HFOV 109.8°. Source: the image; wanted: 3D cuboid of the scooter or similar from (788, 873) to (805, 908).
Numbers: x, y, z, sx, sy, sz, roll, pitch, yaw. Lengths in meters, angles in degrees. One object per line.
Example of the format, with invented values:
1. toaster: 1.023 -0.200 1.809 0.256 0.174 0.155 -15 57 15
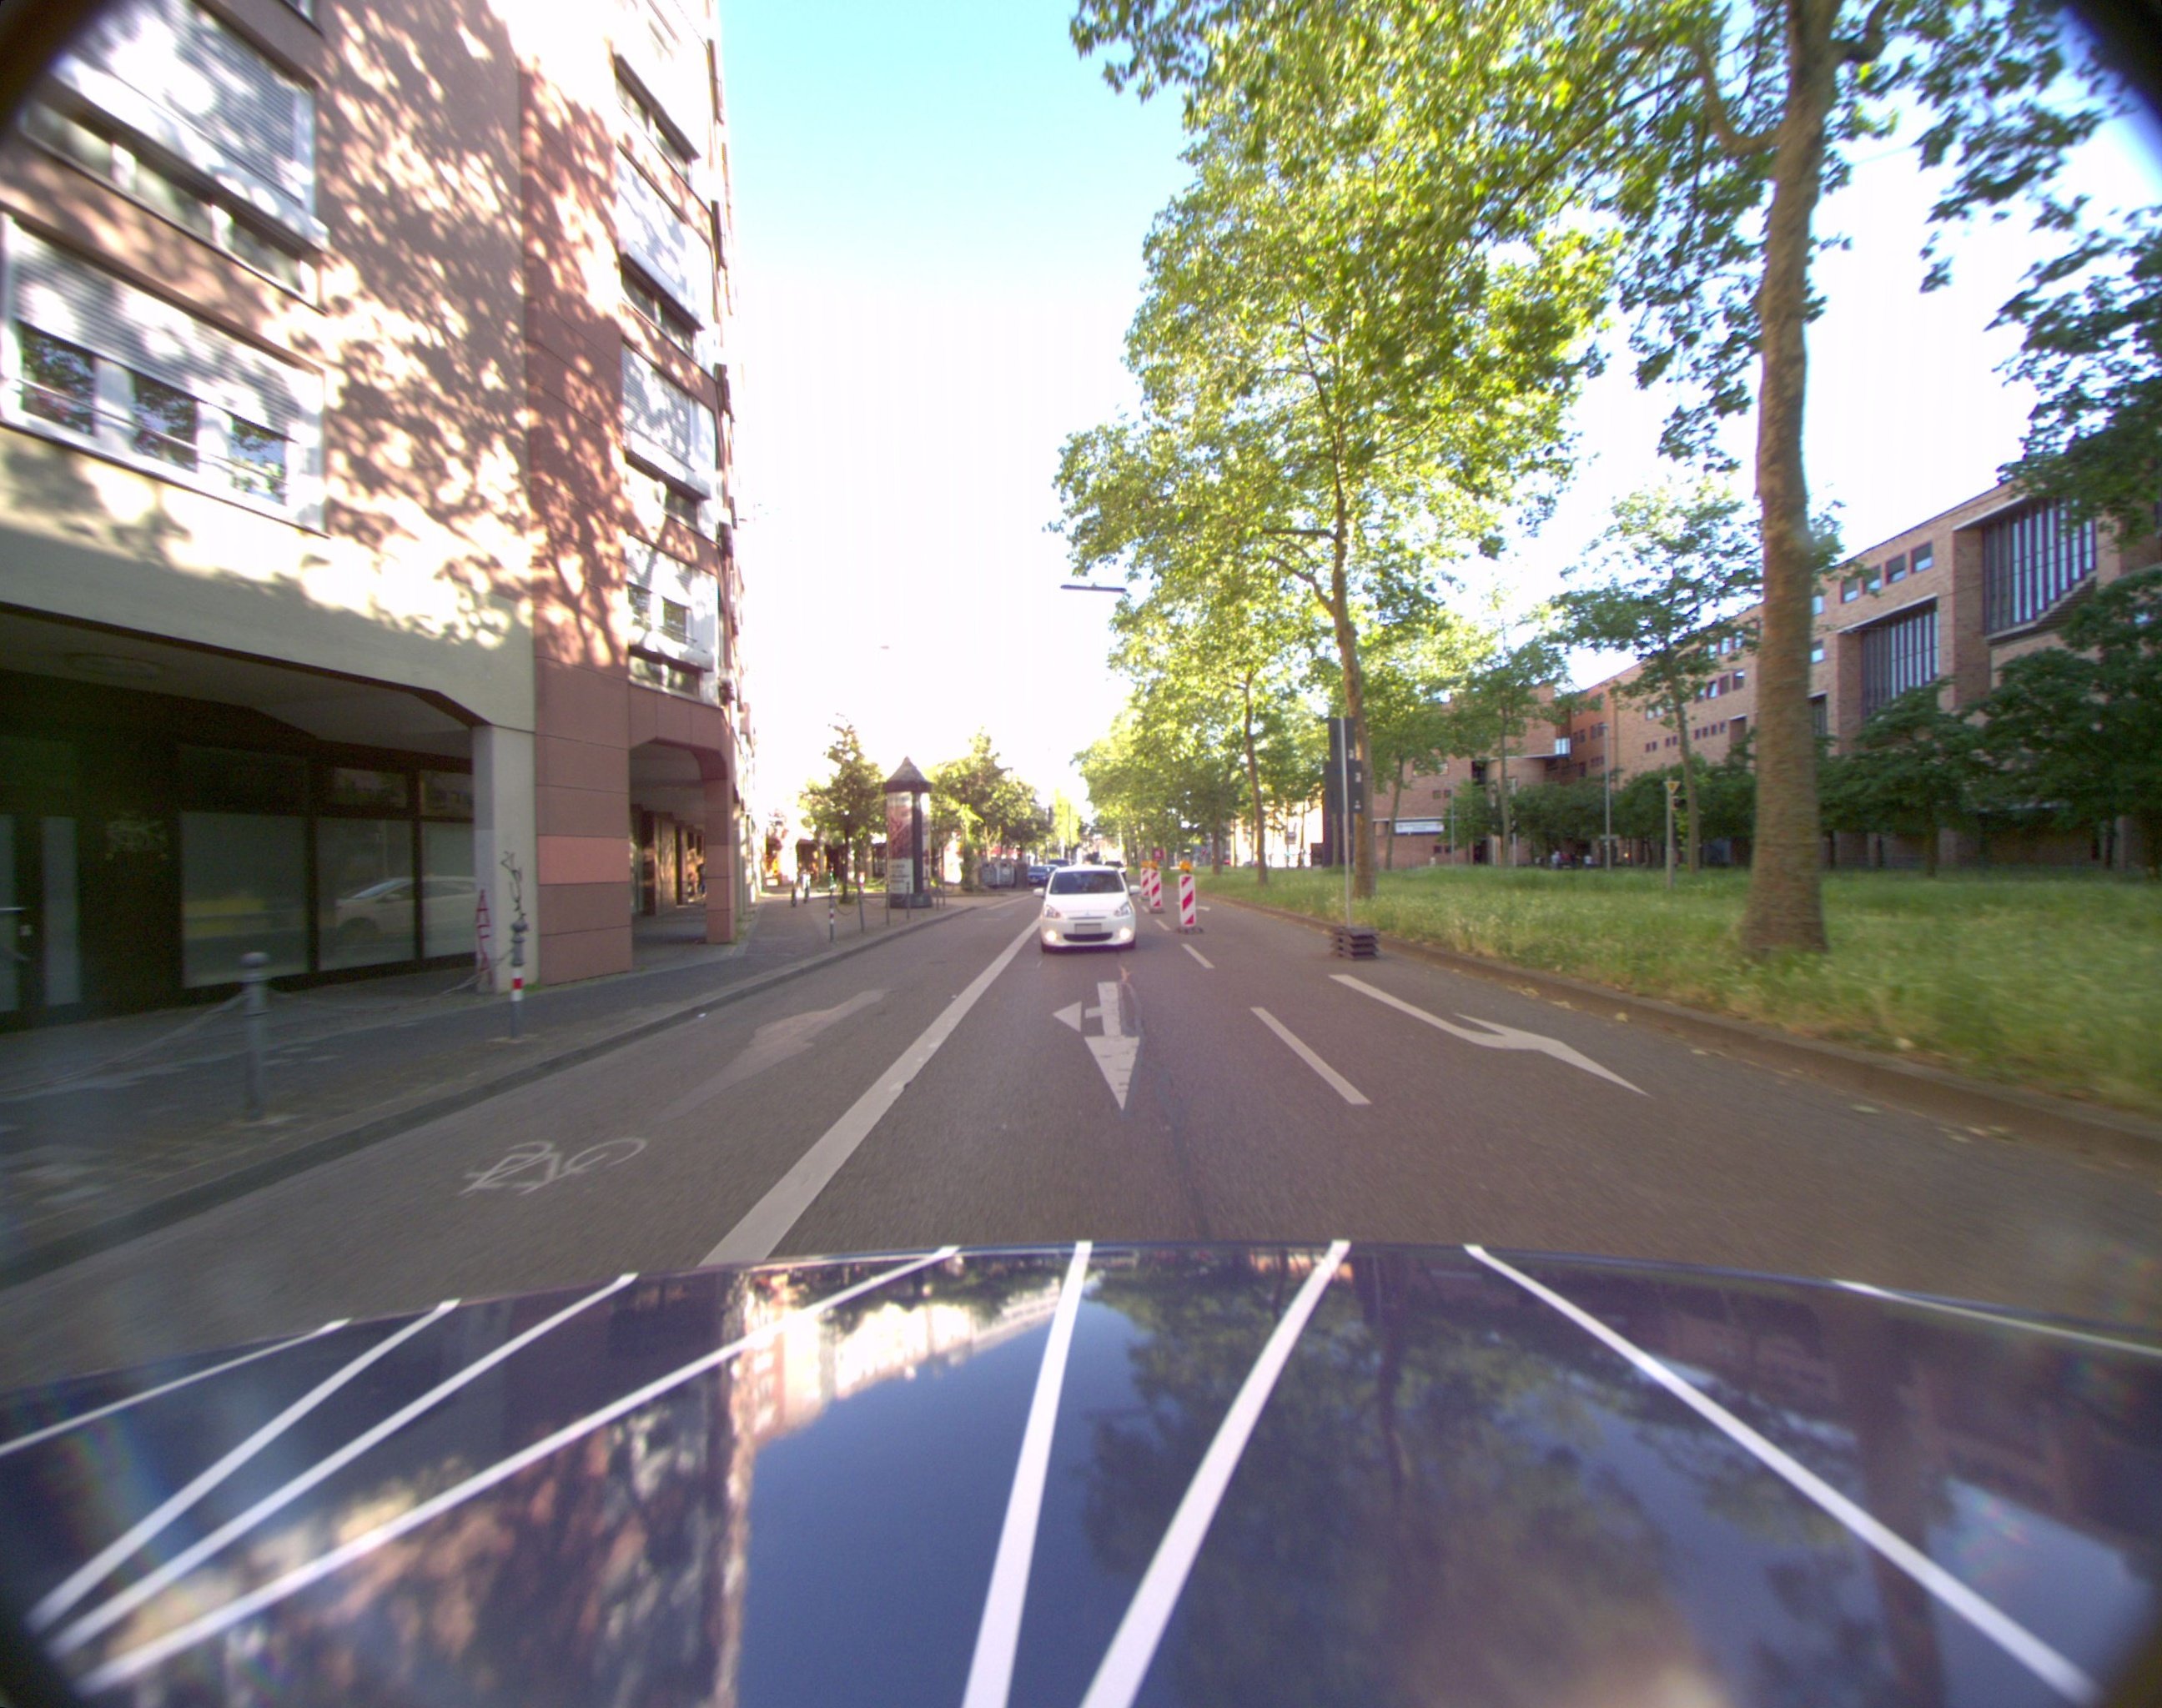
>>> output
1. scooter or similar: -10.231 1.288 27.315 0.486 1.209 1.448 -1 0 -18

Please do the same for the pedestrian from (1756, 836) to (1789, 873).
1. pedestrian: 34.762 0.016 38.187 0.827 1.820 0.900 -1 0 -18

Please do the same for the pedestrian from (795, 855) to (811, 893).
1. pedestrian: -14.530 1.056 39.759 0.641 1.970 0.775 -1 0 -12

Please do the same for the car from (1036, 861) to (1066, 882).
1. car: -2.192 1.281 56.656 1.705 1.456 4.177 0 0 5

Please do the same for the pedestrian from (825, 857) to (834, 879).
1. pedestrian: -21.762 1.218 65.636 0.623 1.859 0.708 -1 0 -13

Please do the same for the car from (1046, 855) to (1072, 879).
1. car: -1.798 1.059 63.351 2.043 1.932 5.198 1 0 0

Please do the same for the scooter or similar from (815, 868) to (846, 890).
1. scooter or similar: -13.428 1.332 40.786 1.457 1.139 0.559 -1 0 7

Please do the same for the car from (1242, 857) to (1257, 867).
1. car: 26.133 1.215 117.688 1.617 1.420 3.222 -1 0 0

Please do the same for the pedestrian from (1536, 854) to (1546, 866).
1. pedestrian: 46.562 0.604 76.932 0.666 1.191 0.630 -1 0 -8

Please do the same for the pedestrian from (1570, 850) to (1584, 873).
1. pedestrian: 35.562 0.538 54.509 0.612 1.669 0.596 -1 0 0

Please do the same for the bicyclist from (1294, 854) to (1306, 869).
1. bicyclist: 23.298 0.795 80.742 0.943 1.561 1.209 -1 0 2

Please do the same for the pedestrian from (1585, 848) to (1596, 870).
1. pedestrian: 36.135 0.346 53.869 0.484 1.496 0.464 -1 0 7

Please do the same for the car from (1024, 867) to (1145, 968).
1. car: 0.230 1.025 13.985 1.720 1.442 4.427 -4 -1 6

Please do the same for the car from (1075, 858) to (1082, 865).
1. car: -0.593 1.908 189.257 1.865 1.724 4.019 -1 0 0

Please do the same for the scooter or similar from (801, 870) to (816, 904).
1. scooter or similar: -10.679 1.273 29.775 0.486 1.266 1.448 -1 0 -18

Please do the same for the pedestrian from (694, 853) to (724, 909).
1. pedestrian: -13.292 0.956 27.180 0.819 1.970 0.847 -1 0 -18

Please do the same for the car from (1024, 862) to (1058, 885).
1. car: -2.638 1.269 50.596 1.705 1.475 4.250 0 0 4

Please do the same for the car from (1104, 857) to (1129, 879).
1. car: 2.726 1.039 58.970 1.824 1.630 4.000 -1 0 2

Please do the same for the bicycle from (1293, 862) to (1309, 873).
1. bicycle: 23.300 1.425 80.512 0.959 1.119 2.436 -1 0 2

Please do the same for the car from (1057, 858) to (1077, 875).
1. car: -1.442 1.289 81.136 1.802 1.714 4.461 1 0 3

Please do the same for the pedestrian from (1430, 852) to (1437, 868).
1. pedestrian: 35.099 0.607 75.688 0.417 1.534 0.653 -1 0 -1

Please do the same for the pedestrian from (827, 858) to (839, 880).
1. pedestrian: -20.959 1.260 64.281 0.779 1.795 0.724 -1 0 -32

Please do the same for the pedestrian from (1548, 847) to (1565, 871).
1. pedestrian: 34.197 0.362 54.632 0.665 1.712 0.797 -1 0 1

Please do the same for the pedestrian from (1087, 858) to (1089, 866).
1. pedestrian: 1.754 2.026 187.490 0.614 2.002 0.530 -1 0 0

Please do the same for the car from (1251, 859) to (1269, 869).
1. car: 26.208 1.419 111.461 1.675 1.420 4.150 -1 0 0

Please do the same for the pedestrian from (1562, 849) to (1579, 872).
1. pedestrian: 34.956 0.459 54.261 0.665 1.607 0.756 -1 0 1
